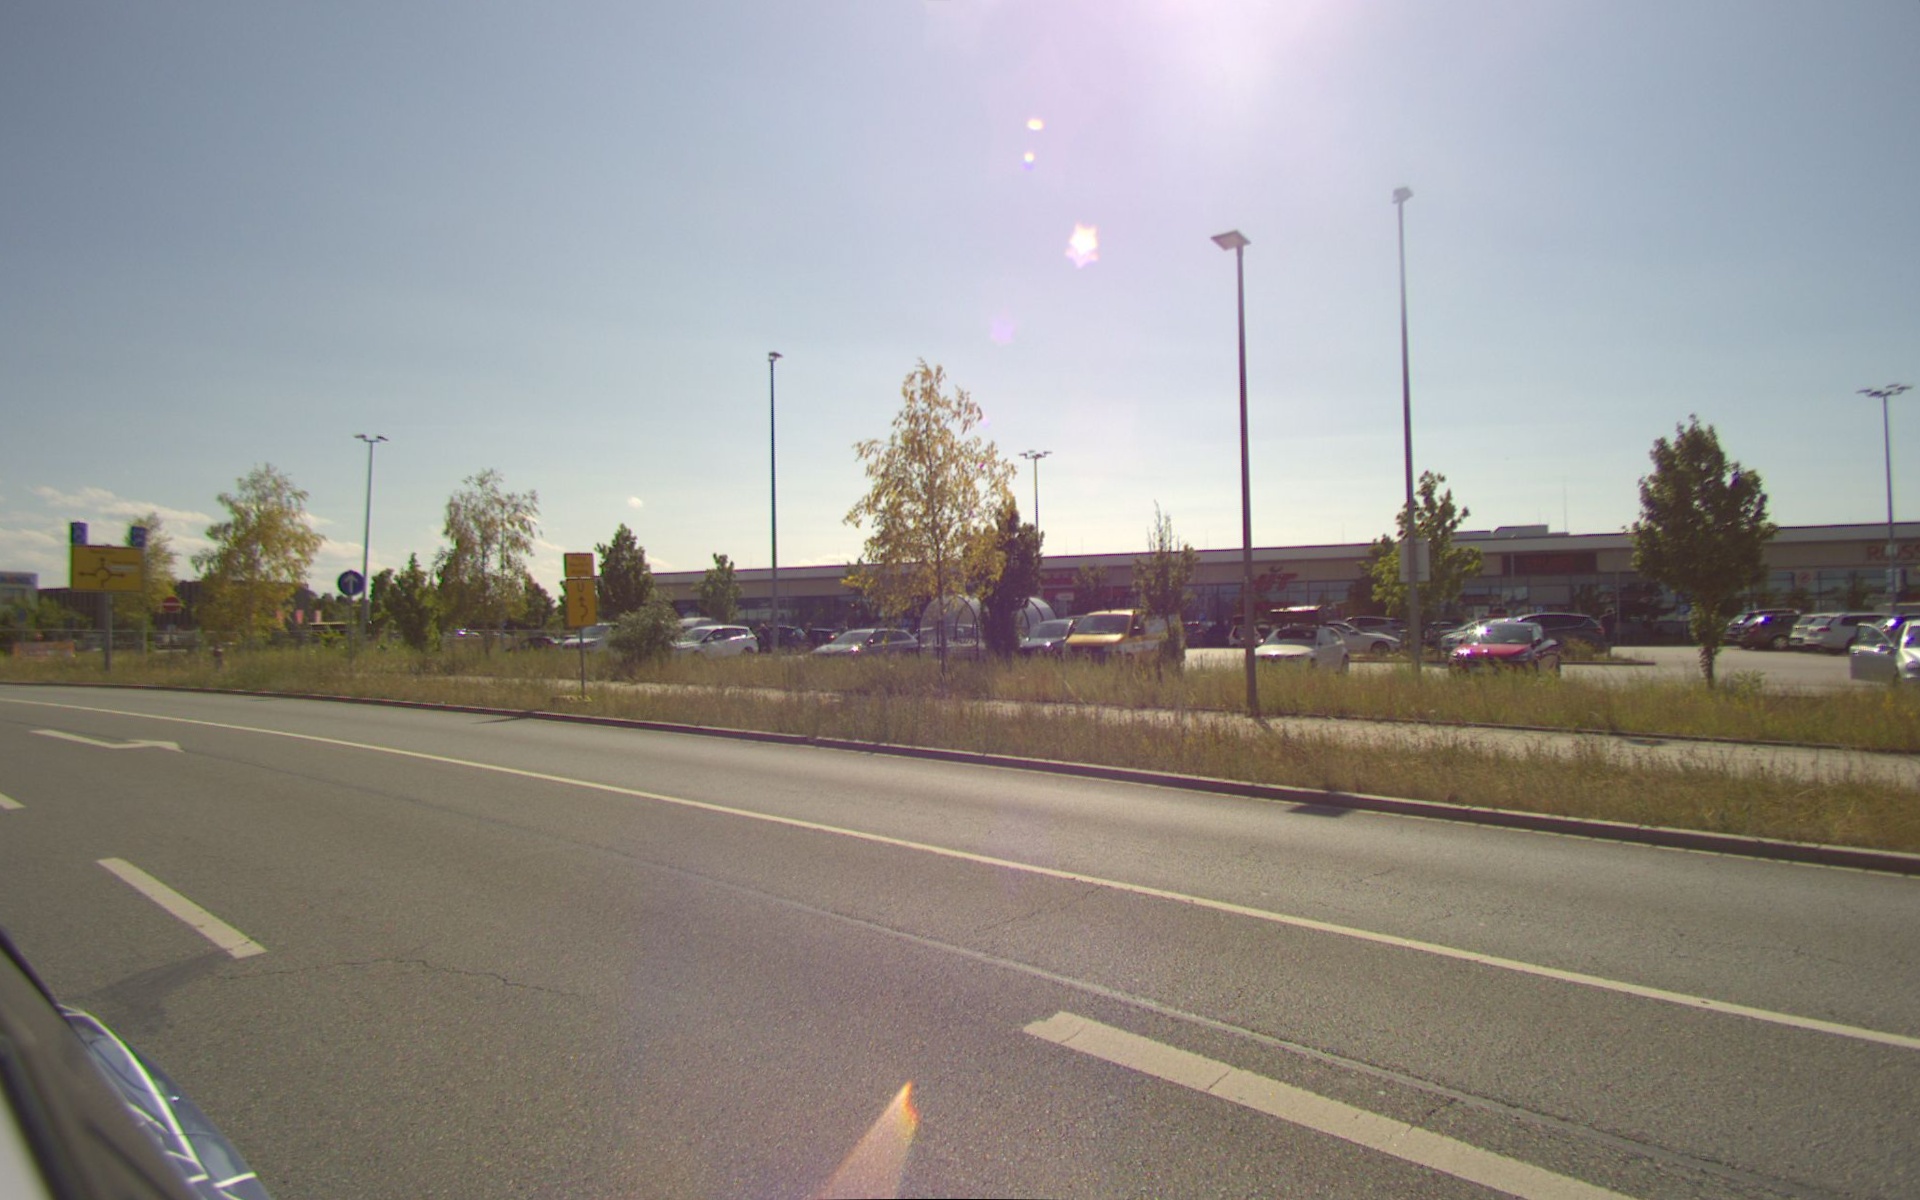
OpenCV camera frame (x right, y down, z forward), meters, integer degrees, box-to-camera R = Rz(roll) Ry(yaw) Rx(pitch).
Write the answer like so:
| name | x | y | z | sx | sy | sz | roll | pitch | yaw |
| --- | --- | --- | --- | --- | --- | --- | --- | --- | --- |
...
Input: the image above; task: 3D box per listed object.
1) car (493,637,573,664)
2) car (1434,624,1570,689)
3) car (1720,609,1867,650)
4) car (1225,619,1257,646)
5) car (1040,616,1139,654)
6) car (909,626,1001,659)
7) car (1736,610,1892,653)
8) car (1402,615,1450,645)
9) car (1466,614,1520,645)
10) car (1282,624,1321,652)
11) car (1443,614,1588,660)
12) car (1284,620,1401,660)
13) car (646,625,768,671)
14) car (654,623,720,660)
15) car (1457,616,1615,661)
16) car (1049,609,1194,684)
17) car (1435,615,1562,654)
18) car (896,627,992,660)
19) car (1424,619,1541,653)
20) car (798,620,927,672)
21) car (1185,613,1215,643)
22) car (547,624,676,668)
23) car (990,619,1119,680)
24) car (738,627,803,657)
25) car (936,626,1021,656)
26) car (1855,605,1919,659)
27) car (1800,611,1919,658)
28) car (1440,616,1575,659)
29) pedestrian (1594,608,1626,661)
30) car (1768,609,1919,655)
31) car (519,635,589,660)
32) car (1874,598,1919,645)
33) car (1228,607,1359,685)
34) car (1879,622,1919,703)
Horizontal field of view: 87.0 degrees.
| name | x | y | z | sx | sy | sz | roll | pitch | yaw |
| --- | --- | --- | --- | --- | --- | --- | --- | --- | --- |
| car | -27.803 | 3.276 | 65.960 | 4.379 | 1.701 | 2.272 | -1 | -2 | 15 |
| car | 12.614 | 1.248 | 23.444 | 1.935 | 1.358 | 4.101 | -2 | -2 | 40 |
| car | 34.677 | 1.238 | 42.249 | 4.321 | 1.608 | 1.773 | -1 | -2 | 20 |
| car | 16.789 | 1.966 | 60.570 | 1.701 | 1.530 | 4.333 | -1 | -2 | 15 |
| car | 6.417 | 1.745 | 50.193 | 4.554 | 1.754 | 1.704 | -2 | -2 | 23 |
| car | -0.244 | 2.074 | 49.346 | 4.209 | 1.528 | 1.705 | -2 | -2 | 21 |
| car | 33.752 | 1.264 | 40.138 | 4.321 | 1.614 | 1.706 | -1 | -2 | 20 |
| car | 26.586 | 1.710 | 57.801 | 1.701 | 1.638 | 4.333 | -1 | -2 | 15 |
| car | 29.749 | 1.636 | 56.627 | 1.701 | 1.646 | 4.333 | -1 | -2 | 15 |
| car | 20.105 | 2.237 | 59.710 | 1.817 | 1.536 | 4.333 | -1 | -2 | 15 |
| car | 20.015 | 1.345 | 36.668 | 4.321 | 1.561 | 1.706 | -1 | -2 | 20 |
| car | 15.555 | 1.639 | 41.272 | 4.325 | 1.538 | 1.704 | -2 | -2 | 22 |
| car | -9.806 | 1.825 | 39.588 | 1.994 | 1.685 | 4.554 | -2 | -2 | 32 |
| car | -20.029 | 2.992 | 74.464 | 1.924 | 2.607 | 5.685 | -1 | -2 | 18 |
| car | 19.249 | 1.311 | 34.043 | 4.321 | 1.428 | 1.706 | -1 | -2 | 20 |
| car | 4.855 | 1.318 | 29.690 | 1.995 | 1.980 | 5.633 | -2 | -2 | 34 |
| car | 22.047 | 1.429 | 41.631 | 4.321 | 1.544 | 1.706 | -1 | -2 | 20 |
| car | -0.753 | 2.011 | 46.740 | 4.111 | 1.436 | 1.705 | -2 | -2 | 21 |
| car | 22.803 | 1.578 | 44.332 | 4.321 | 1.428 | 1.706 | -1 | -2 | 20 |
| car | -3.308 | 1.565 | 35.210 | 1.995 | 1.685 | 4.662 | -2 | -2 | 34 |
| car | 14.935 | 1.746 | 62.833 | 1.701 | 1.821 | 4.333 | -1 | -2 | 15 |
| car | -14.336 | 1.865 | 41.965 | 1.990 | 1.685 | 5.149 | -2 | -2 | 27 |
| car | 2.965 | 1.461 | 30.844 | 1.877 | 1.685 | 4.727 | -2 | -2 | 34 |
| car | -10.584 | 2.336 | 56.744 | 1.831 | 1.564 | 3.972 | -2 | -2 | 21 |
| car | 1.019 | 2.229 | 54.987 | 4.323 | 1.599 | 1.705 | -2 | -2 | 21 |
| car | 29.694 | 0.918 | 29.990 | 4.321 | 1.573 | 1.706 | -1 | -2 | 20 |
| car | 31.933 | 1.172 | 34.770 | 4.321 | 1.556 | 1.706 | -1 | -2 | 20 |
| car | 21.073 | 1.452 | 39.163 | 4.321 | 1.584 | 1.706 | -1 | -2 | 20 |
| pedestrian | 22.542 | 1.197 | 35.092 | 0.776 | 1.838 | 0.566 | -1 | -2 | 21 |
| car | 32.971 | 1.185 | 37.504 | 4.321 | 1.627 | 1.706 | -1 | -2 | 20 |
| car | -29.241 | 3.427 | 72.961 | 4.538 | 1.701 | 1.964 | -1 | -2 | 18 |
| car | 42.005 | 0.908 | 42.961 | 4.321 | 1.974 | 1.706 | -1 | -2 | 20 |
| car | 8.773 | 1.158 | 26.435 | 1.930 | 1.875 | 4.104 | -2 | -2 | 38 |
| car | 17.914 | 1.066 | 18.144 | 1.935 | 1.358 | 4.101 | -2 | -2 | 40 |
